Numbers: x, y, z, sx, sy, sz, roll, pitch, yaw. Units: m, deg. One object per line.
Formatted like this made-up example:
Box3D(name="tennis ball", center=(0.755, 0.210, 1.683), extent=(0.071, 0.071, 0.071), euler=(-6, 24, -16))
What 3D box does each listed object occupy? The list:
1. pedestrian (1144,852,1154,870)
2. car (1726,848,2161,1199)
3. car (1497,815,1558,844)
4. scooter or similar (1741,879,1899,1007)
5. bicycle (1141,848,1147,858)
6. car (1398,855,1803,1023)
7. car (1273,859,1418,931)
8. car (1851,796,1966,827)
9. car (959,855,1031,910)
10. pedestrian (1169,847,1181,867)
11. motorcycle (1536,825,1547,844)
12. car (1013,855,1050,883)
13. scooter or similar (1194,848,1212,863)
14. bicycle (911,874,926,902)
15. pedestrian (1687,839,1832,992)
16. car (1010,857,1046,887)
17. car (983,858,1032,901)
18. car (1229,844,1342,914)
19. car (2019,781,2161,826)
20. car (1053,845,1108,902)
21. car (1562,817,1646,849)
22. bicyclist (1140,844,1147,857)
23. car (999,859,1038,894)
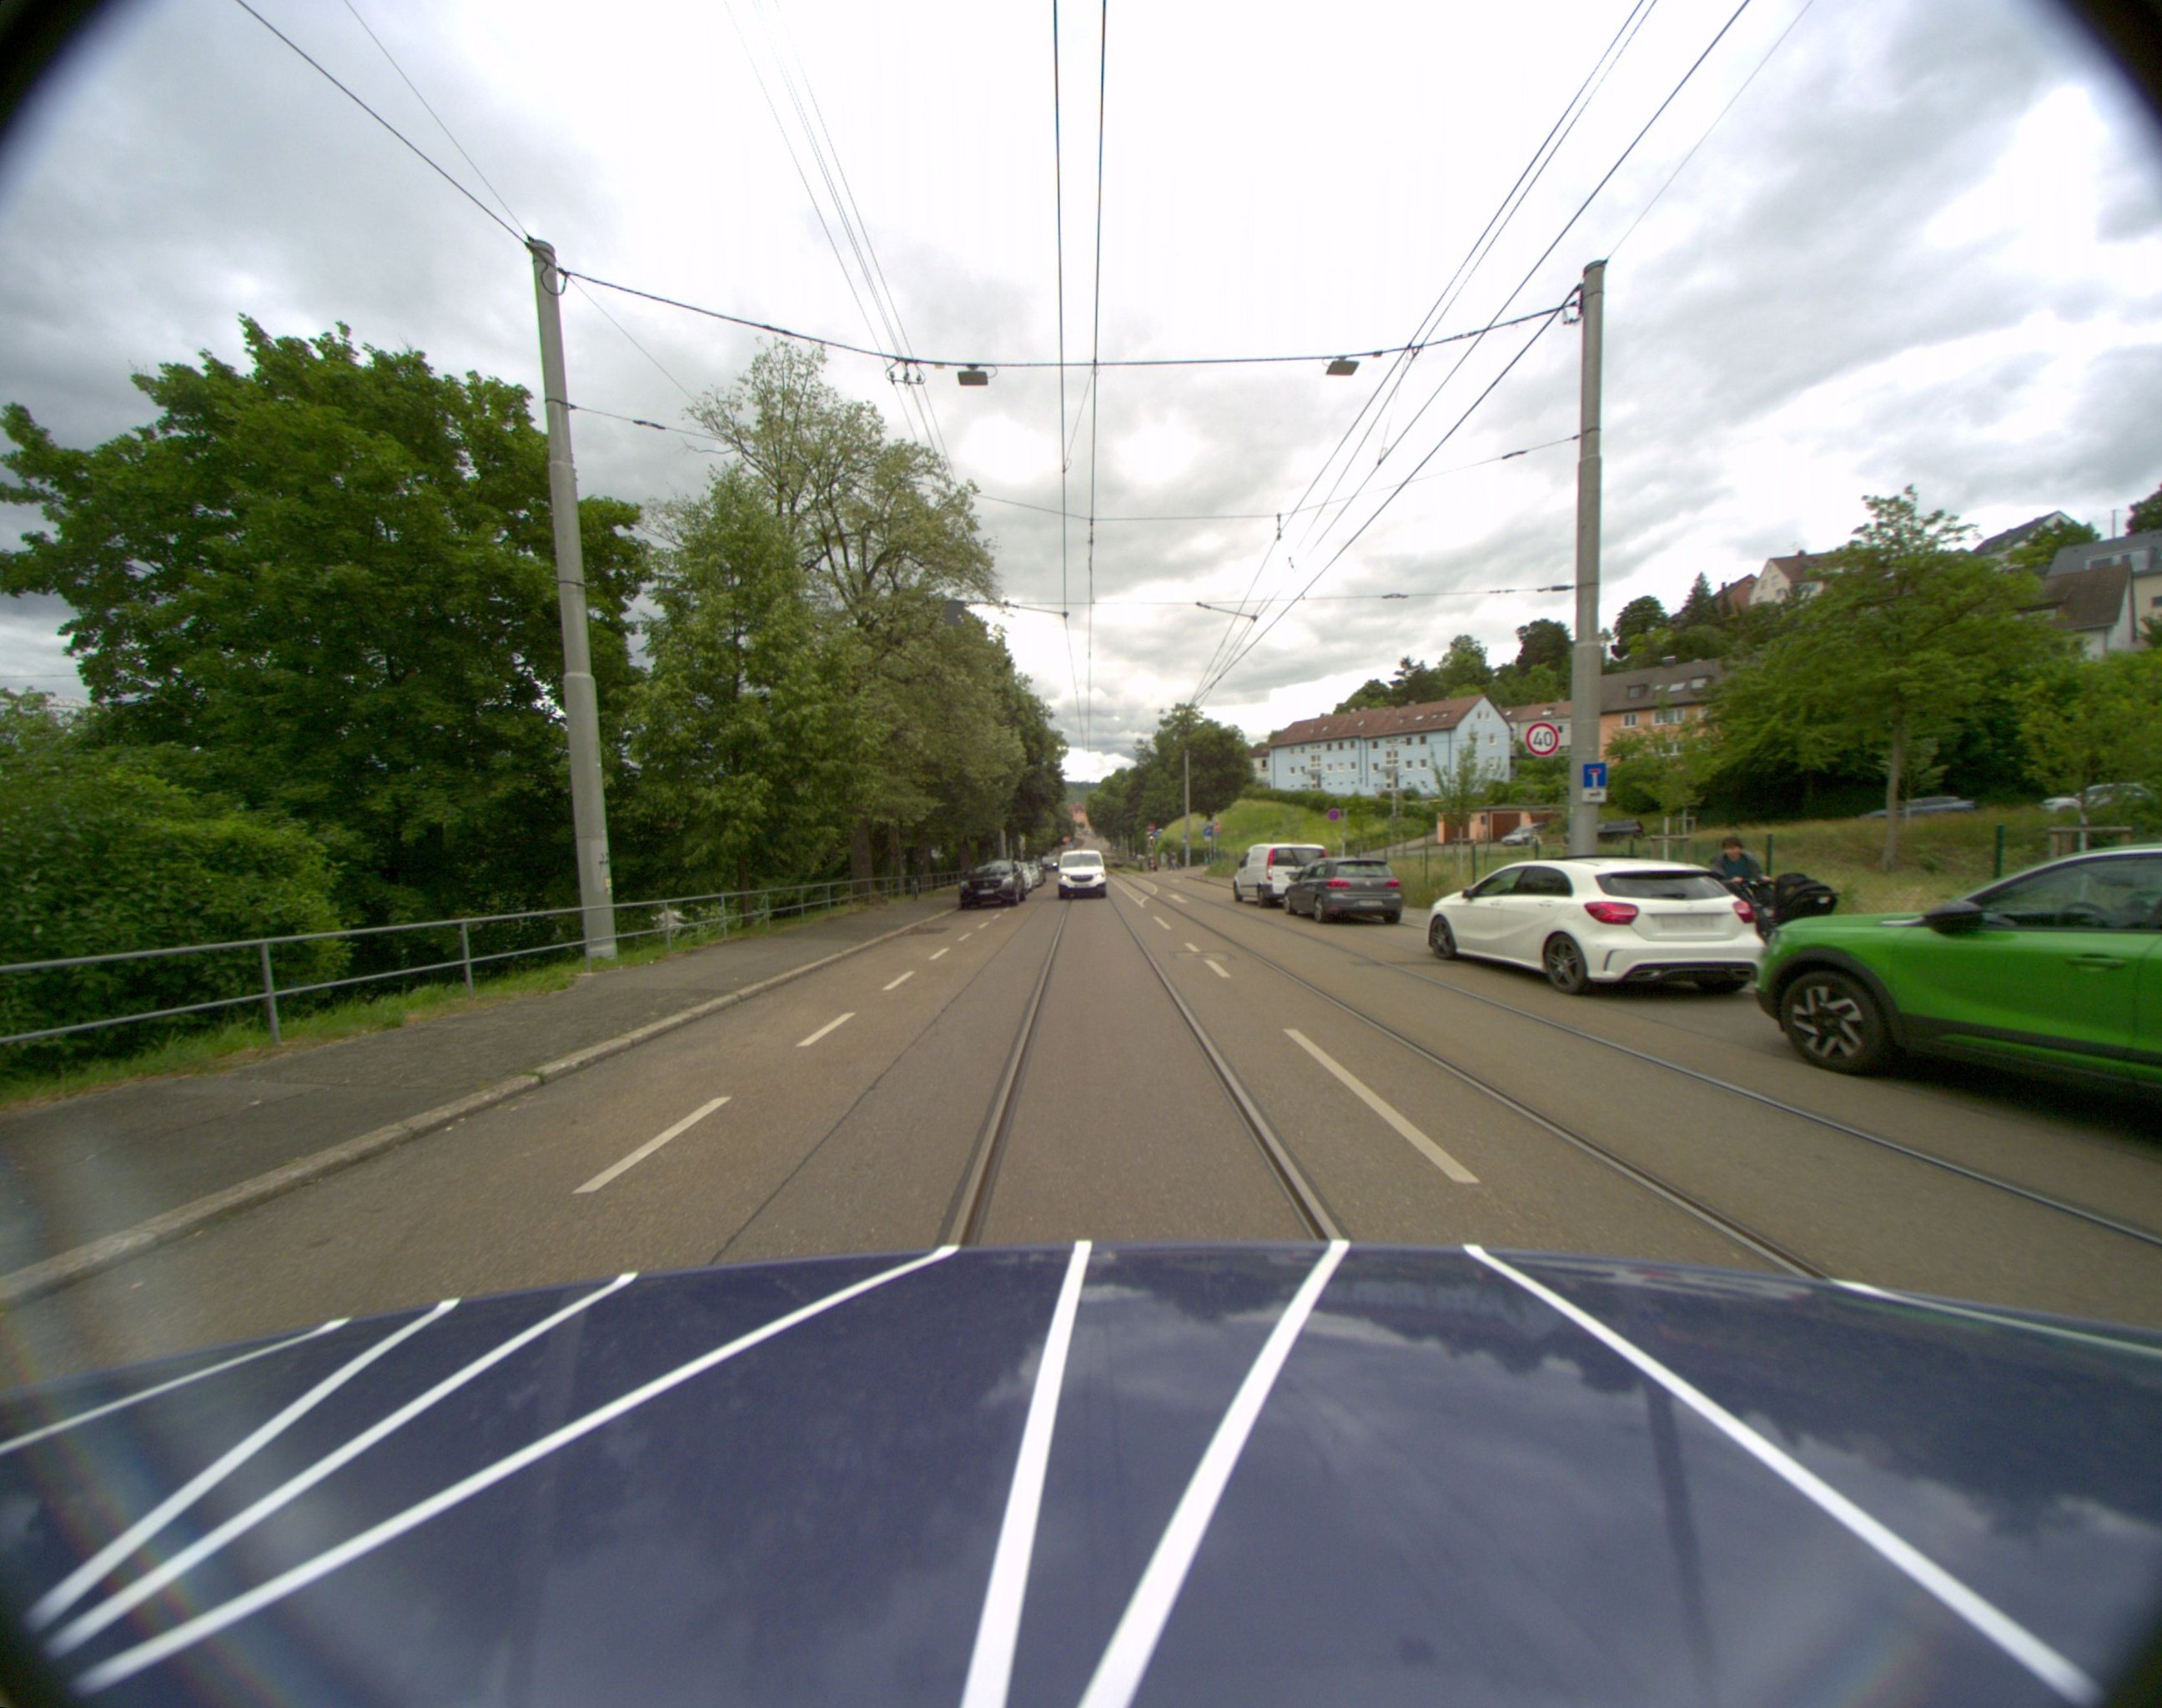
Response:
Box3D(name="pedestrian", center=(6.050, 0.604, 67.690), extent=(0.752, 1.565, 0.757), euler=(-2, 2, 8))
Box3D(name="car", center=(5.769, 0.770, 3.709), extent=(1.727, 1.570, 4.180), euler=(-1, 0, 1))
Box3D(name="car", center=(34.448, -1.895, 58.623), extent=(4.885, 1.604, 1.995), euler=(-9, 5, -32))
Box3D(name="scooter or similar", center=(7.628, 0.893, 7.885), extent=(0.807, 1.189, 0.839), euler=(-2, 2, 1))
Box3D(name="bicycle", center=(8.026, -0.145, 97.069), extent=(0.752, 1.232, 2.867), euler=(-3, 0, 4))
Box3D(name="car", center=(5.877, 0.806, 9.505), extent=(1.890, 1.517, 4.663), euler=(-1, 1, 0))
Box3D(name="car", center=(6.070, 0.864, 18.049), extent=(1.901, 1.424, 4.511), euler=(-1, 0, 0))
Box3D(name="car", center=(46.400, -2.362, 42.740), extent=(4.120, 1.503, 1.986), euler=(-1, 2, 40))
Box3D(name="car", center=(-3.012, 0.968, 27.774), extent=(1.882, 1.668, 5.062), euler=(-4, 0, 1))
Box3D(name="pedestrian", center=(8.424, 0.285, 68.338), extent=(0.901, 1.740, 0.743), euler=(-2, 2, 14))
Box3D(name="motorcycle", center=(32.481, -1.365, 53.563), extent=(0.520, 1.151, 1.707), euler=(-1, 6, 36))
Box3D(name="car", center=(-3.146, 0.954, 49.334), extent=(1.909, 1.605, 4.600), euler=(-3, 0, 2))
Box3D(name="scooter or similar", center=(11.185, 0.149, 69.596), extent=(1.412, 1.282, 0.418), euler=(-6, 2, 1))
Box3D(name="bicycle", center=(-6.457, 1.329, 30.229), extent=(0.428, 0.970, 1.793), euler=(-3, 1, -9))
Box3D(name="pedestrian", center=(7.630, 0.652, 8.597), extent=(0.807, 1.619, 0.916), euler=(-2, 2, 2))
Box3D(name="car", center=(-3.035, 1.007, 44.250), extent=(1.738, 1.566, 4.364), euler=(-2, 1, 0))
Box3D(name="car", center=(-3.208, 1.088, 33.804), extent=(1.730, 1.622, 4.087), euler=(-6, 0, -1))
Box3D(name="car", center=(6.081, 0.665, 23.289), extent=(2.041, 1.871, 4.883), euler=(1, 1, -1))
Box3D(name="car", center=(51.670, -2.537, 38.992), extent=(4.120, 2.002, 1.986), euler=(-1, 2, 39))
Box3D(name="car", center=(0.056, 0.661, 29.371), extent=(1.809, 1.910, 4.478), euler=(-2, 1, 3))
Box3D(name="car", center=(35.323, -1.410, 51.357), extent=(4.440, 1.680, 1.980), euler=(-6, -1, 38))
Box3D(name="bicyclist", center=(8.043, -0.498, 97.592), extent=(0.706, 1.619, 1.033), euler=(-3, 0, 4))
Box3D(name="car", center=(-3.124, 1.097, 38.696), extent=(1.633, 1.507, 4.063), euler=(-5, 0, -1))
